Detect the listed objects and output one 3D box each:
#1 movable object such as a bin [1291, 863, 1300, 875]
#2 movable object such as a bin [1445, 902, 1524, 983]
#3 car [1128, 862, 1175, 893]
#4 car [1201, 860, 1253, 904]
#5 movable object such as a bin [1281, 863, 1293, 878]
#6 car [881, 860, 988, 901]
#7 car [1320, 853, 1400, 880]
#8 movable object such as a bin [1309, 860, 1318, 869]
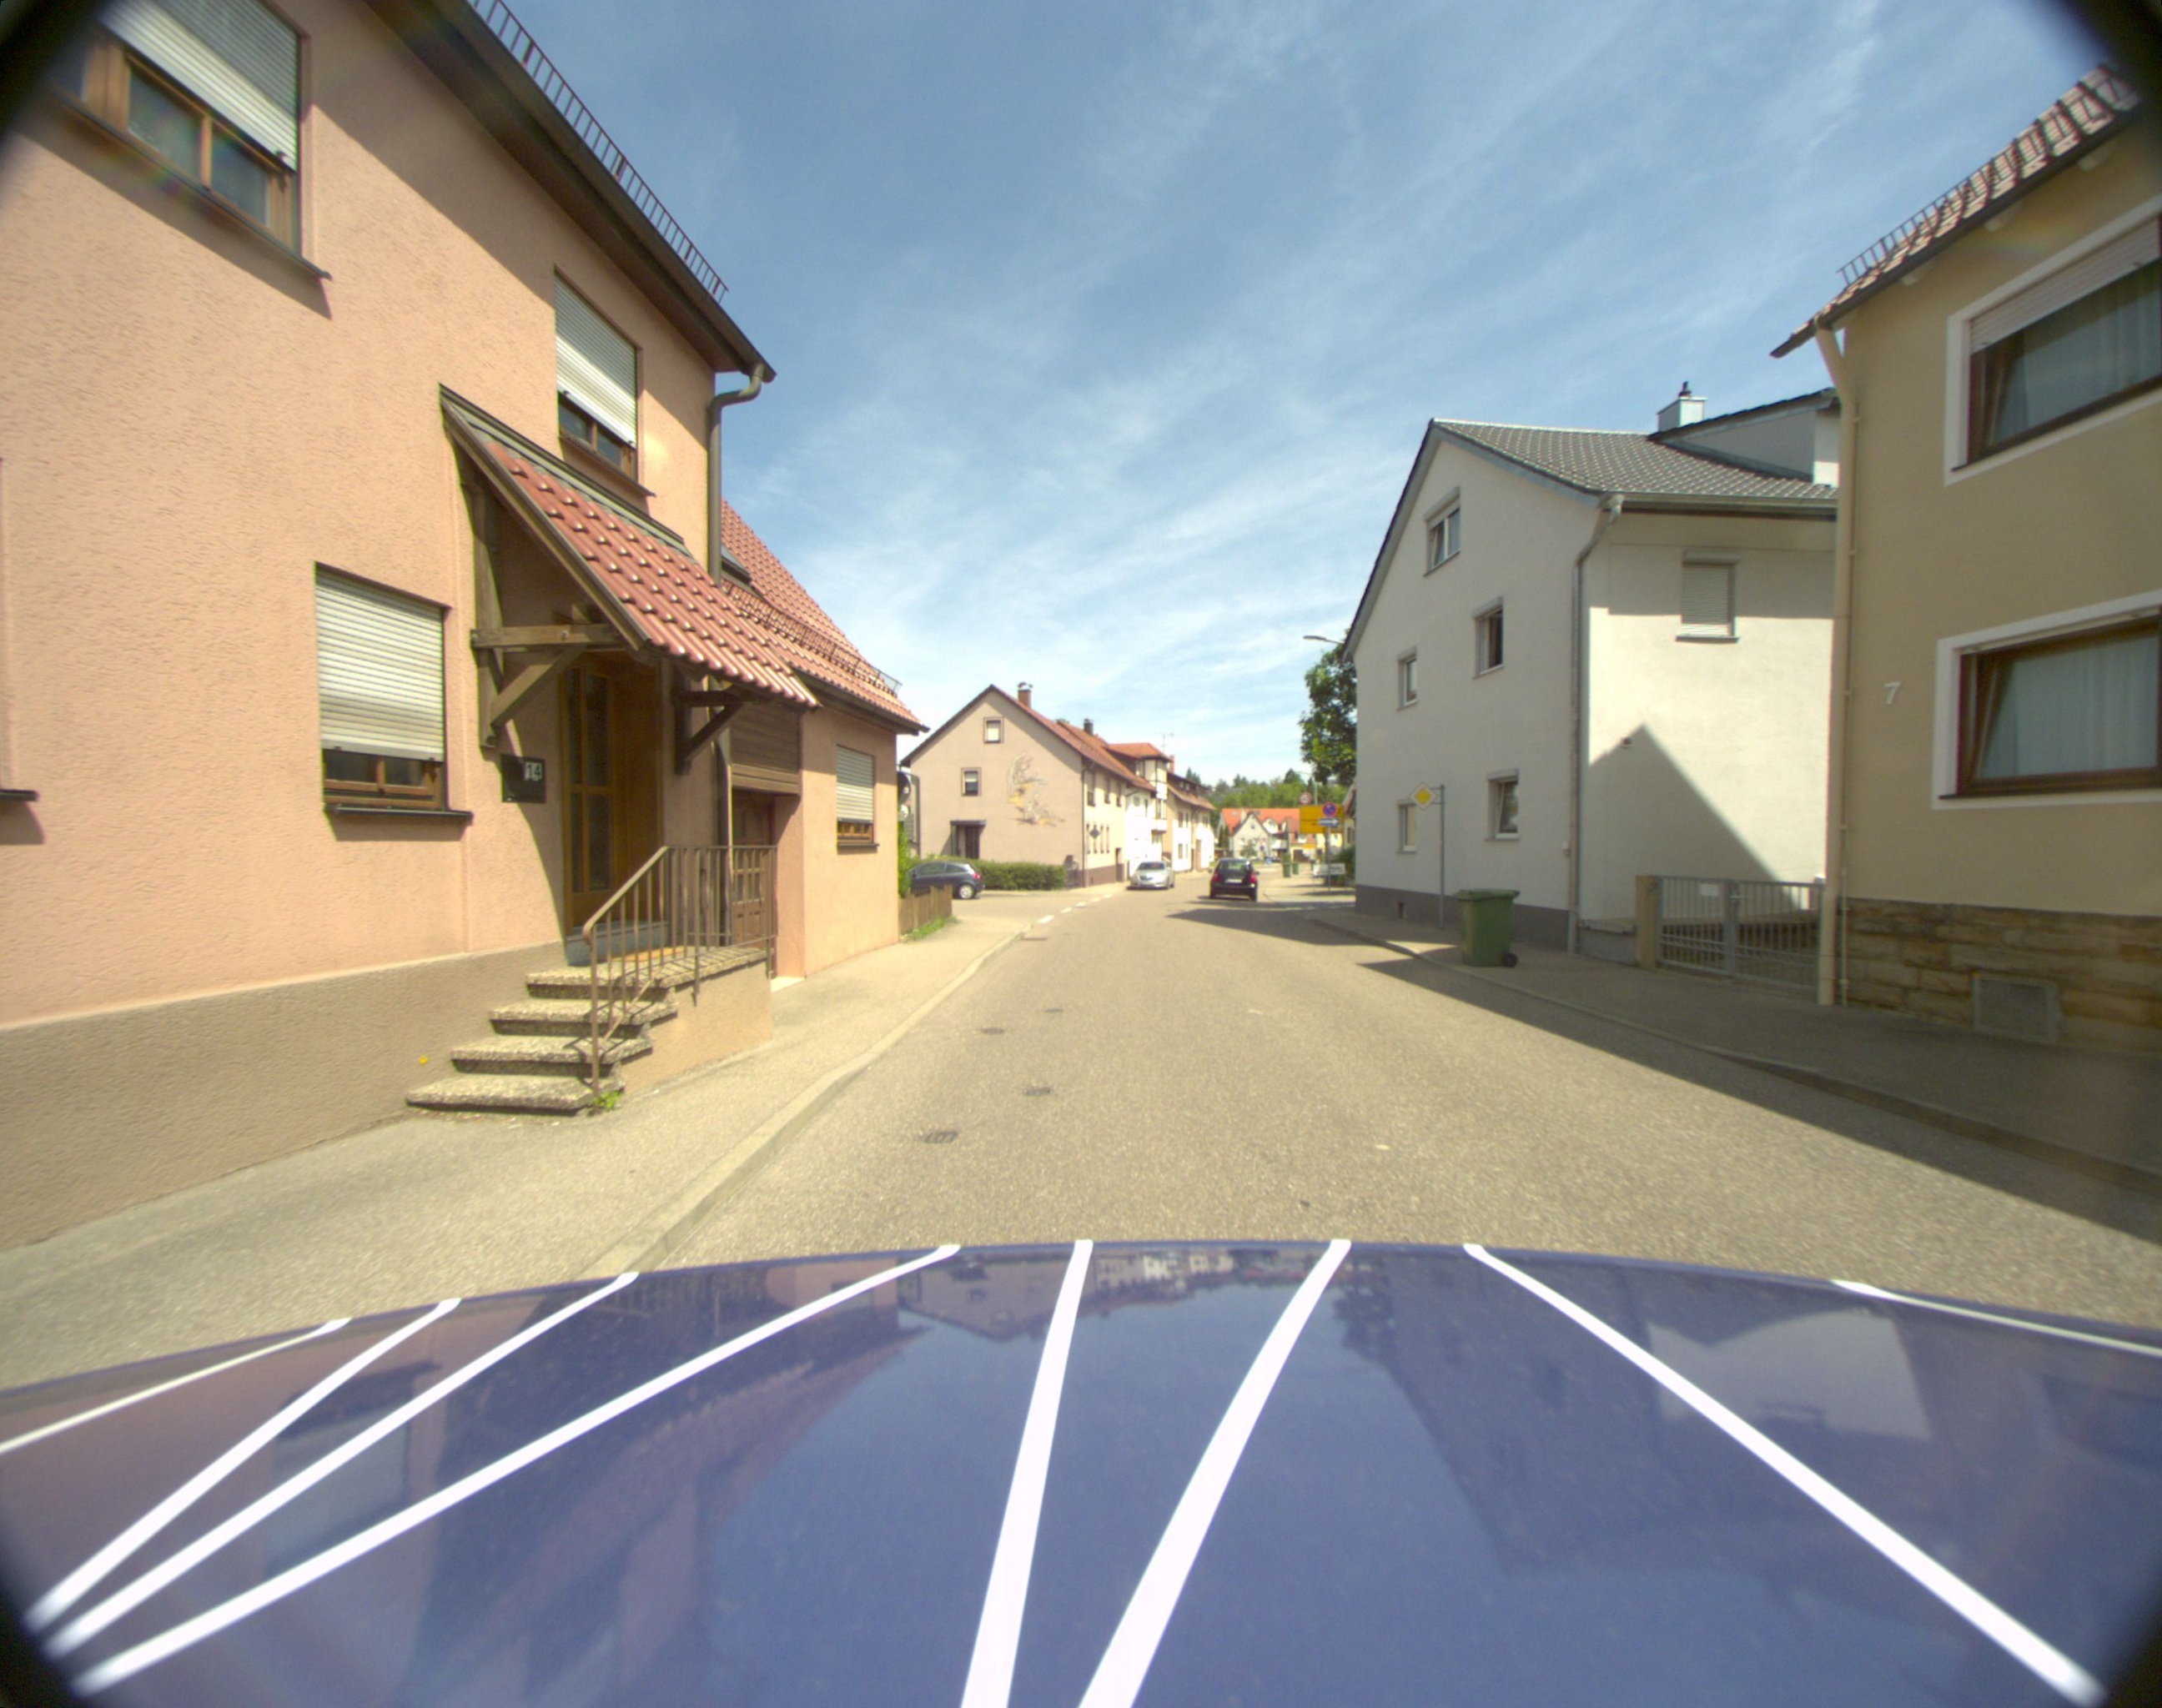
[{"bbox_3d":[18.664,1.312,66.126,0.792,1.051,0.651,0,0,14],"label":"movable object such as a bin"},{"bbox_3d":[5.605,1.214,10.578,0.755,1.054,0.680,-1,0,4],"label":"movable object such as a bin"},{"bbox_3d":[3.639,1.138,38.336,1.788,1.433,4.341,-1,0,13],"label":"car"},{"bbox_3d":[5.723,1.028,29.446,1.802,1.546,4.075,1,0,13],"label":"car"},{"bbox_3d":[15.080,1.229,55.690,0.827,1.071,0.819,-1,0,18],"label":"movable object such as a bin"},{"bbox_3d":[-5.530,0.987,29.085,3.815,1.479,1.889,0,1,-4],"label":"car"},{"bbox_3d":[17.812,0.770,48.670,4.411,1.613,2.000,-1,1,4],"label":"car"},{"bbox_3d":[25.017,1.121,81.643,0.809,1.039,0.828,-1,0,27],"label":"movable object such as a bin"}]
